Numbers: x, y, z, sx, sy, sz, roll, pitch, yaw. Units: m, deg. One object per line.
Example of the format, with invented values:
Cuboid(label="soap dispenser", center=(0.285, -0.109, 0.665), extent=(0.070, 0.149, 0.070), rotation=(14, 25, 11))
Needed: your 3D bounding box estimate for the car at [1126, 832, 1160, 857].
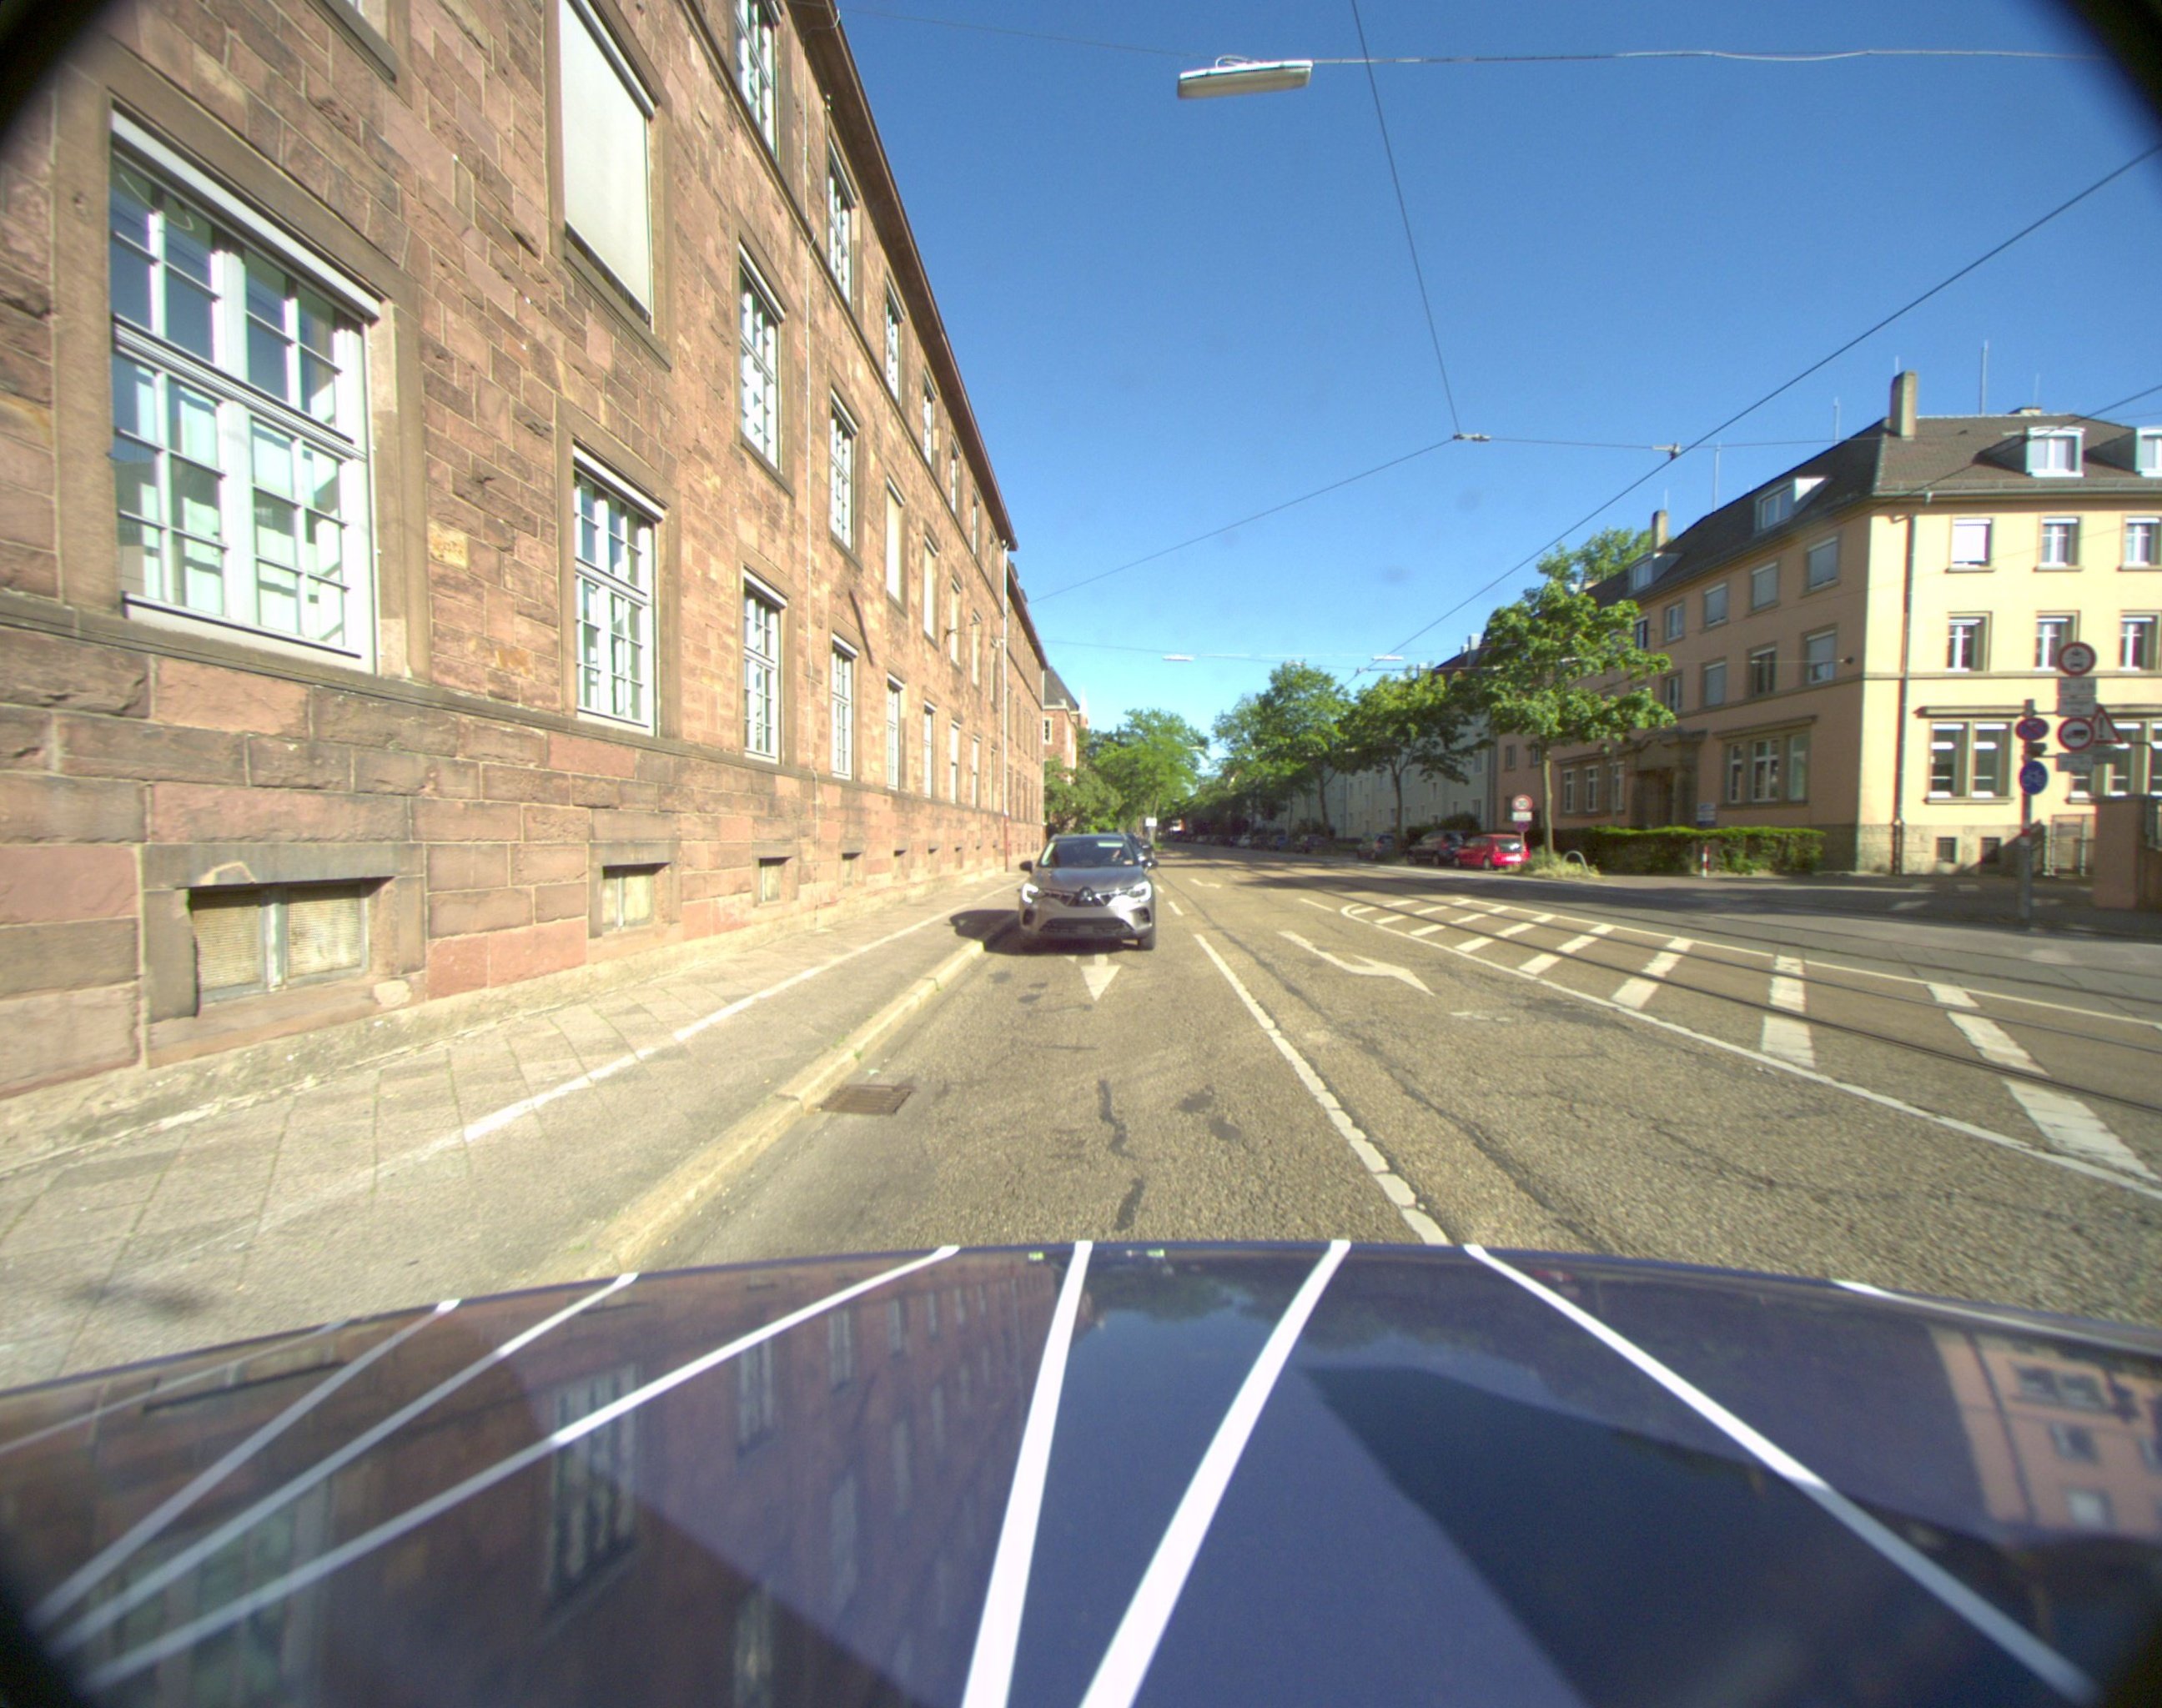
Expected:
Cuboid(label="car", center=(3.855, -0.627, 47.674), extent=(1.911, 1.510, 3.999), rotation=(0, 2, 2))

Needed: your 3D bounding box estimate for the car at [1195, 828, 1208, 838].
Cuboid(label="car", center=(22.339, -3.858, 140.812), extent=(1.816, 1.768, 3.629), rotation=(0, 2, 1))

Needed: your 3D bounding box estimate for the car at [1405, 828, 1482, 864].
Cuboid(label="car", center=(17.253, -0.423, 36.339), extent=(1.816, 1.649, 3.818), rotation=(0, 2, -1))

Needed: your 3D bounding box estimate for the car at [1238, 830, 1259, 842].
Cuboid(label="car", center=(20.193, -2.179, 91.609), extent=(1.816, 1.411, 3.629), rotation=(0, 2, 1))

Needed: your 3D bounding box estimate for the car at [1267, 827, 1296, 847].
Cuboid(label="car", center=(19.284, -1.646, 73.205), extent=(1.816, 1.815, 3.794), rotation=(0, 2, 1))

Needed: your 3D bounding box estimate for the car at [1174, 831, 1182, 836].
Cuboid(label="car", center=(25.090, -5.347, 196.759), extent=(1.816, 1.411, 3.629), rotation=(0, 2, 1))

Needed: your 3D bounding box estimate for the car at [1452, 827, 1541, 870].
Cuboid(label="car", center=(17.251, -0.254, 31.720), extent=(1.816, 1.697, 3.373), rotation=(0, 2, -1))

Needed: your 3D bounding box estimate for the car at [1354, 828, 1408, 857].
Cuboid(label="car", center=(17.748, -0.704, 45.130), extent=(1.815, 1.649, 3.876), rotation=(0, 2, 3))

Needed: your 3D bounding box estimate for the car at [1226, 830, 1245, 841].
Cuboid(label="car", center=(20.421, -2.440, 100.530), extent=(1.816, 1.411, 3.629), rotation=(0, 2, 1))

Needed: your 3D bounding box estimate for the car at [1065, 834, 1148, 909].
Cuboid(label="car", center=(0.598, 0.327, 18.605), extent=(1.795, 1.595, 3.798), rotation=(-1, 2, 1))

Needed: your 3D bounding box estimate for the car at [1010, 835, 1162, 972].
Cuboid(label="car", center=(0.095, 0.554, 11.055), extent=(1.795, 1.595, 3.798), rotation=(-1, 2, 1))

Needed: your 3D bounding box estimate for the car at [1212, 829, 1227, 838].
Cuboid(label="car", center=(21.392, -3.123, 117.403), extent=(1.816, 1.411, 3.629), rotation=(0, 2, 1))

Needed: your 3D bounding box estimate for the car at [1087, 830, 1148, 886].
Cuboid(label="car", center=(1.147, 0.052, 25.027), extent=(1.795, 1.638, 4.082), rotation=(-1, 2, 1))

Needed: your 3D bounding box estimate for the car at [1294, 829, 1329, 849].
Cuboid(label="car", center=(18.556, -1.219, 61.343), extent=(1.816, 1.590, 3.629), rotation=(0, 2, 1))

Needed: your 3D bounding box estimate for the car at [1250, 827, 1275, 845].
Cuboid(label="car", center=(19.632, -1.946, 82.270), extent=(1.816, 1.930, 3.629), rotation=(0, 2, 1))

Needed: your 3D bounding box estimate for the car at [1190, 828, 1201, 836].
Cuboid(label="car", center=(22.948, -4.400, 152.441), extent=(1.816, 1.514, 3.629), rotation=(0, 2, 1))
